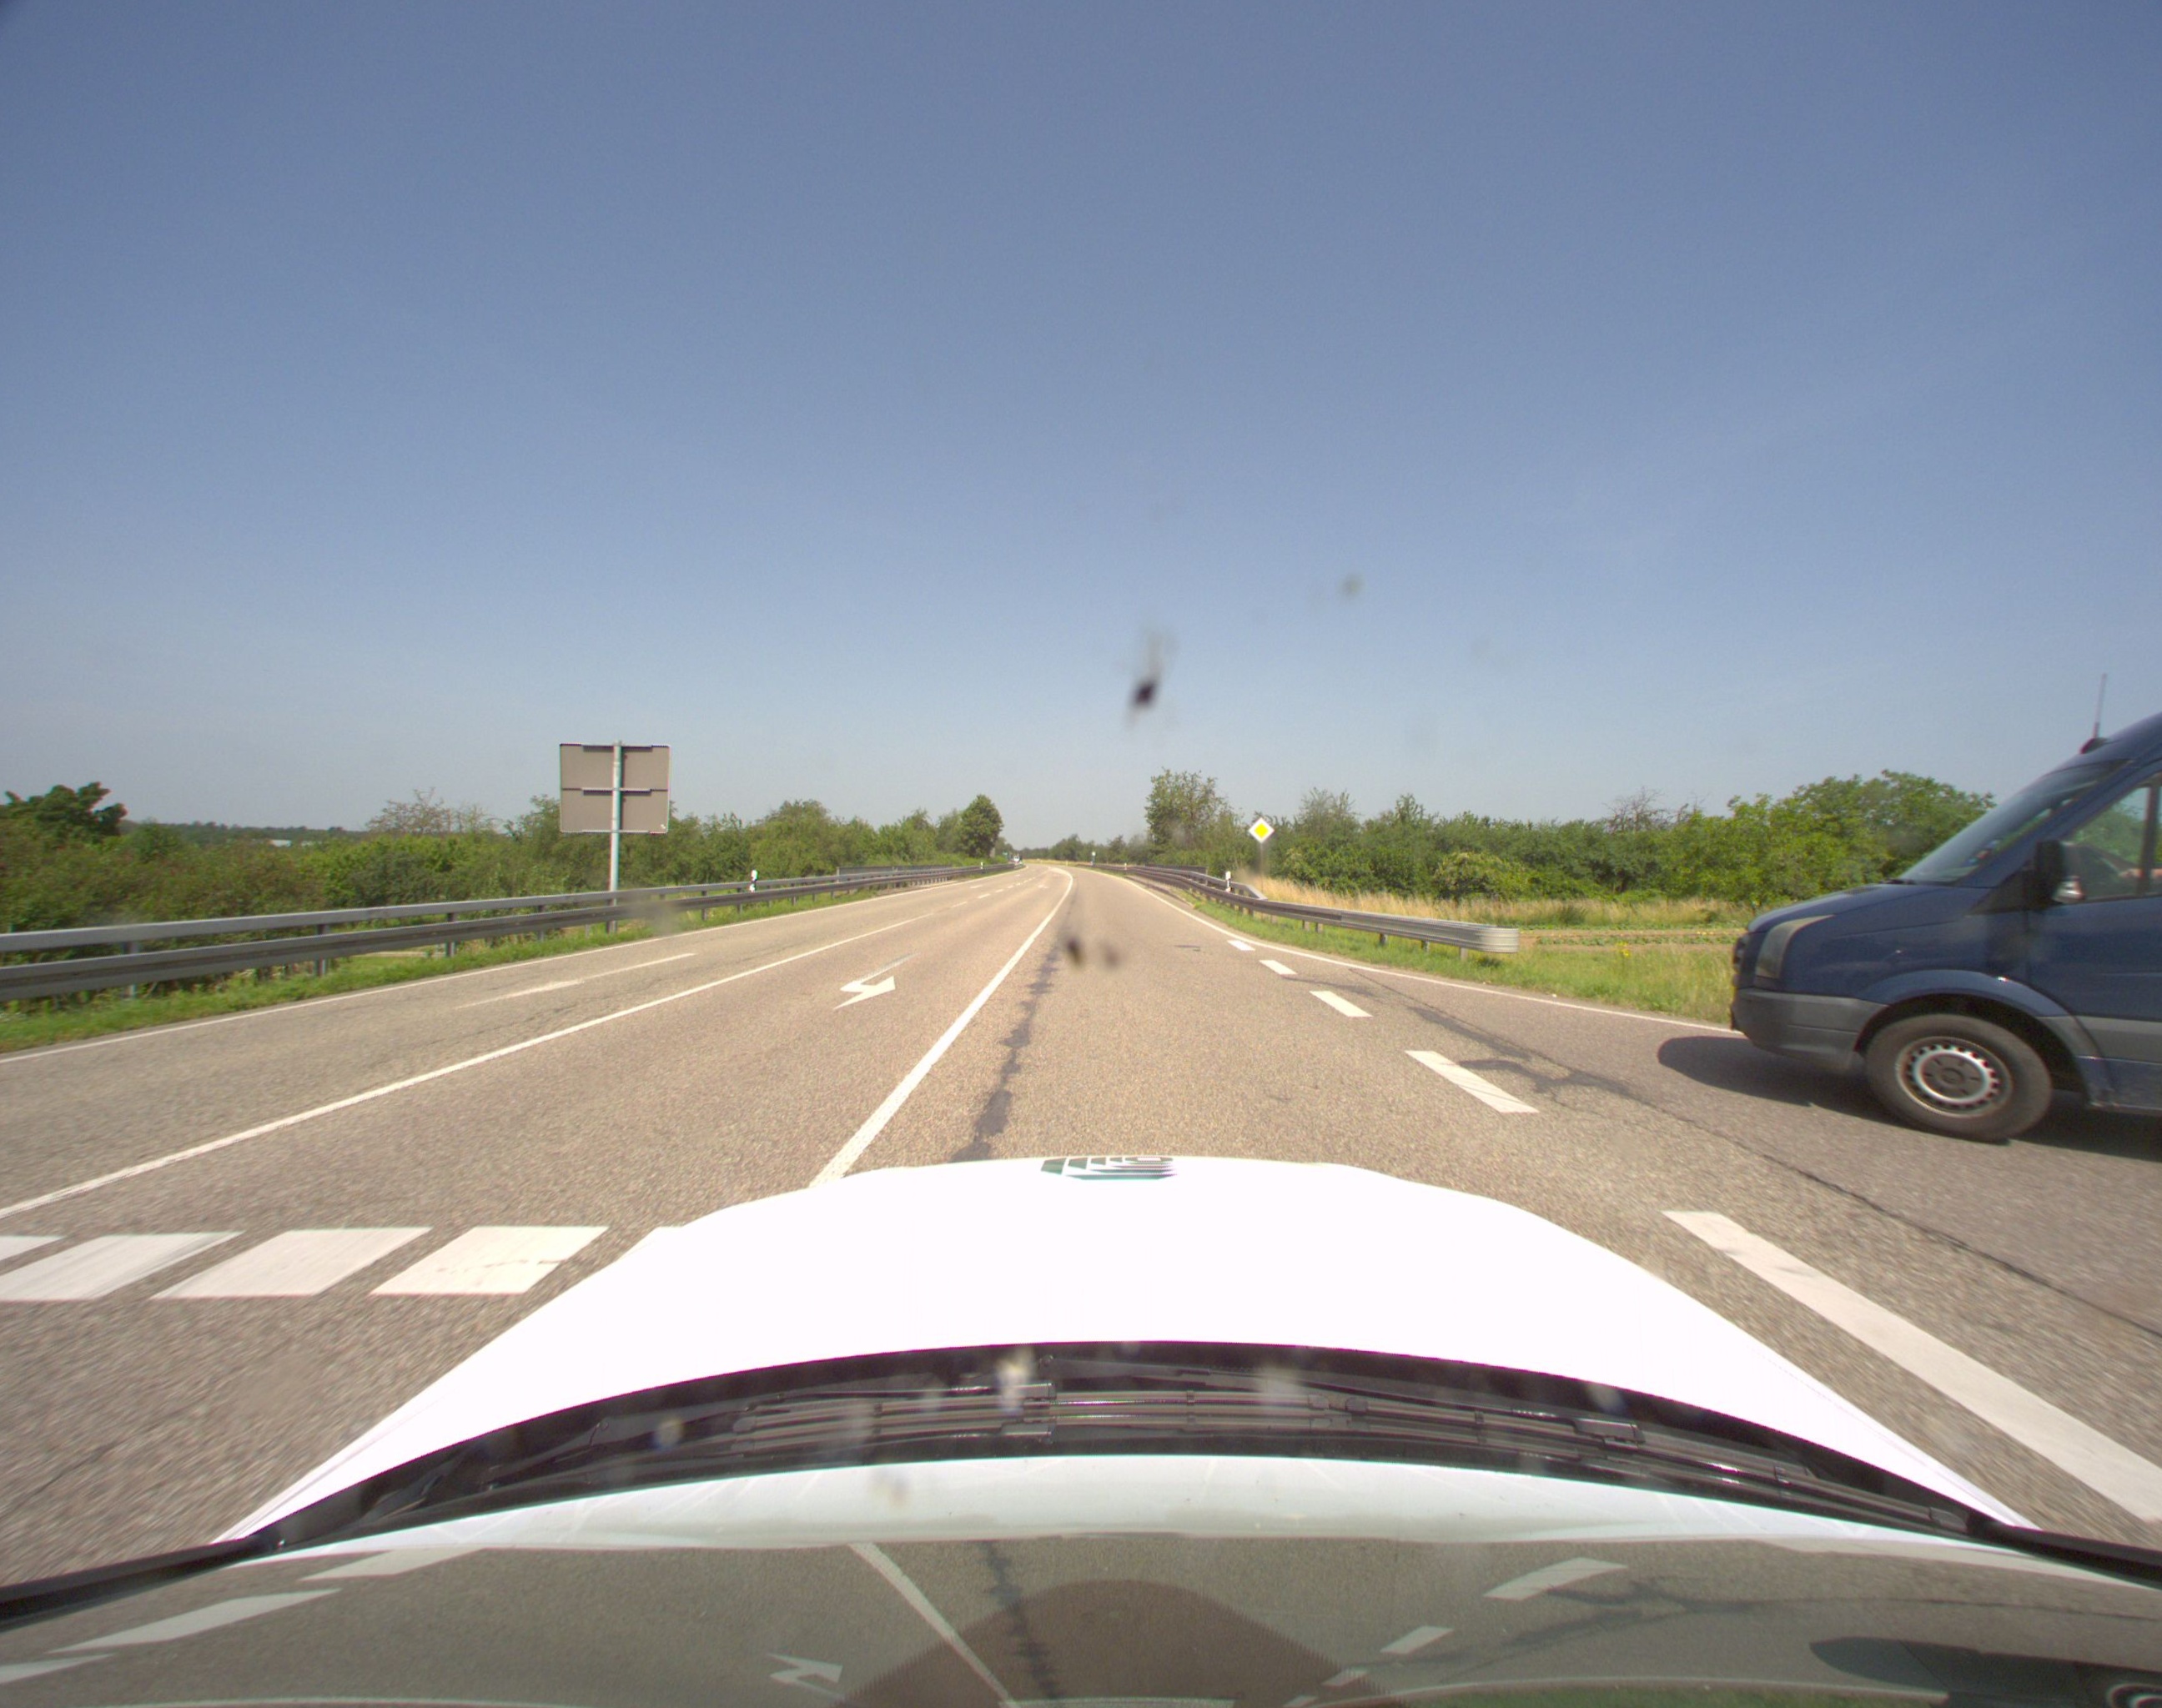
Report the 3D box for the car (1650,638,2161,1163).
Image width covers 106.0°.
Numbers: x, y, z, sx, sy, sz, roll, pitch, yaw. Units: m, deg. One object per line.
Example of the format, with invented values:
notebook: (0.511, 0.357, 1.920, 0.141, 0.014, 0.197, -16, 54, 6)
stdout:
car: (6.781, 0.252, 4.117, 6.232, 2.575, 2.075, 1, 0, 40)
